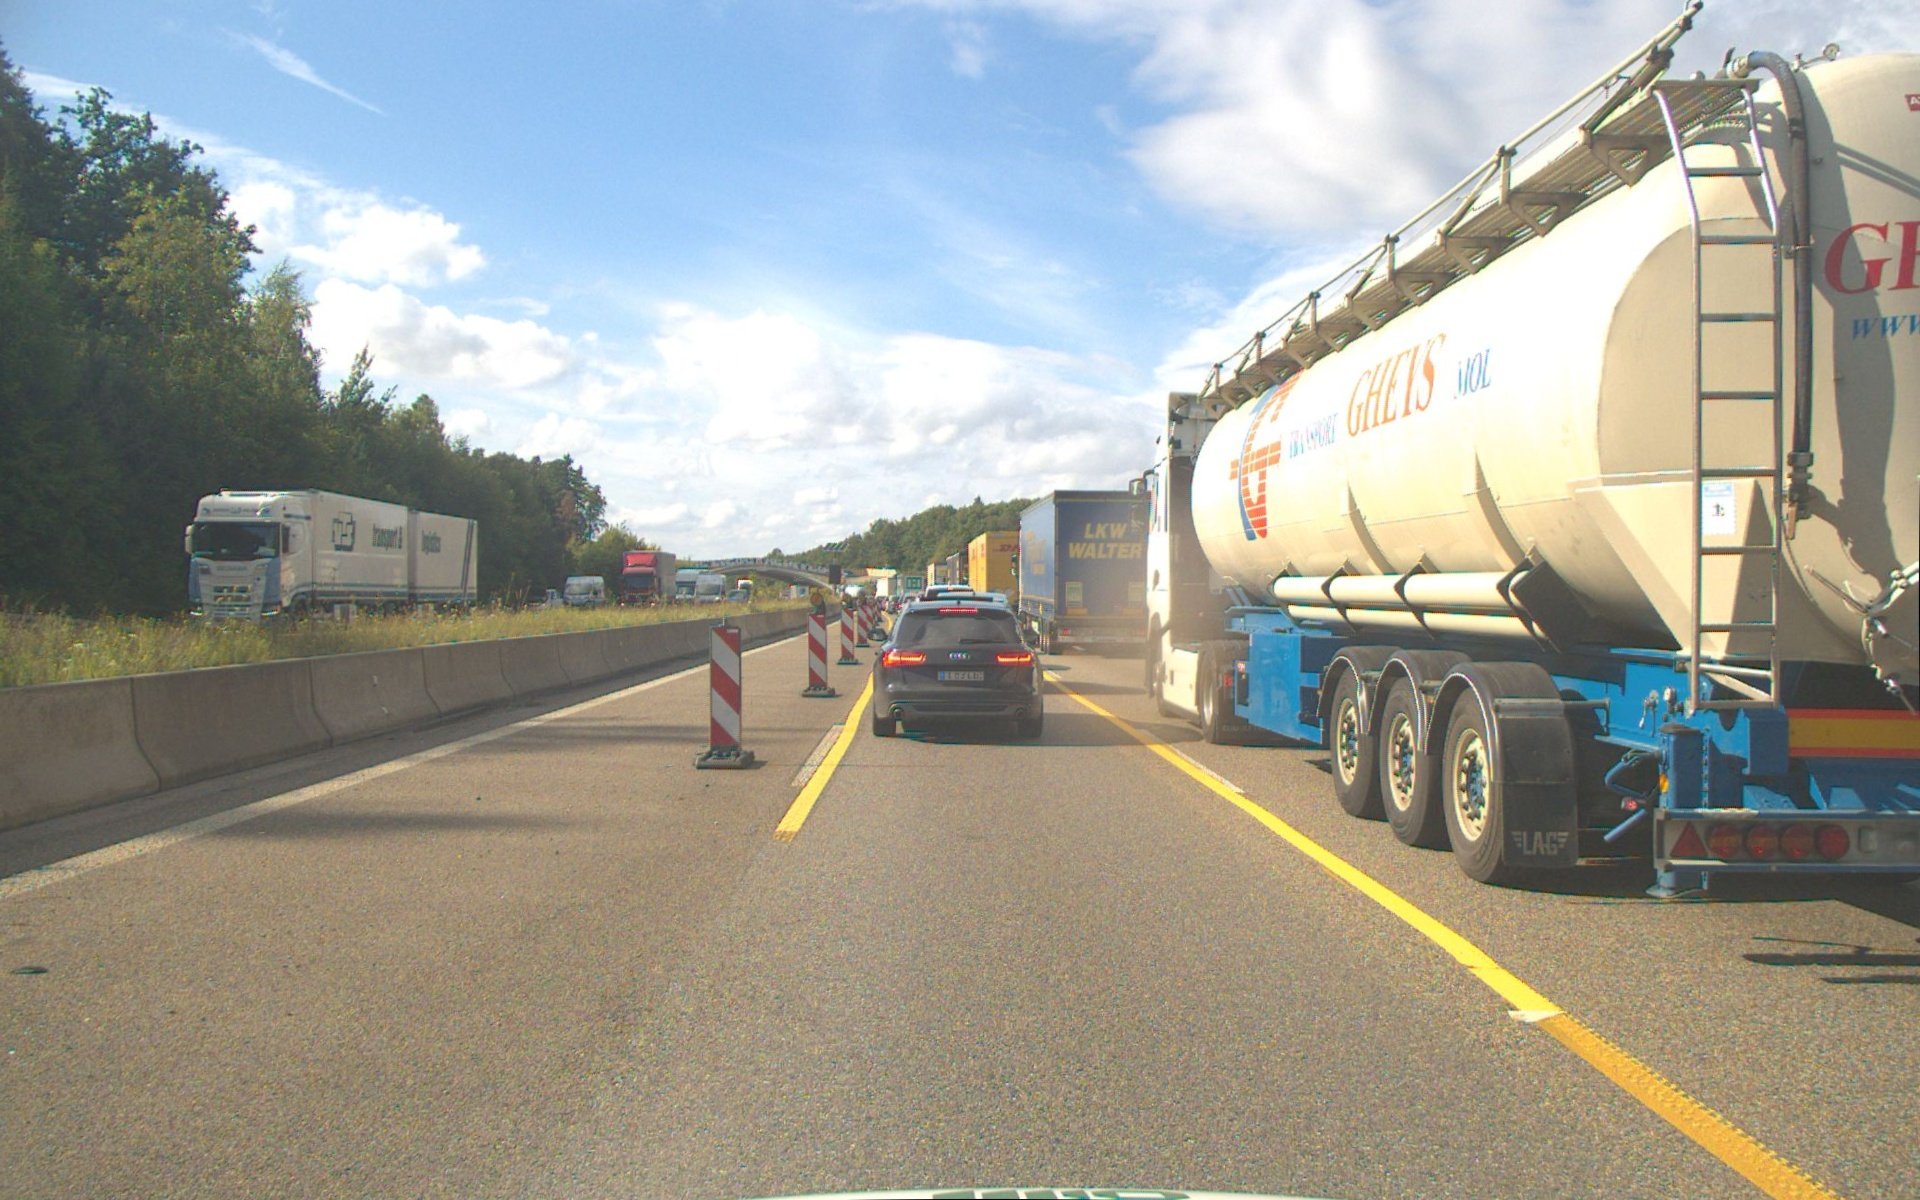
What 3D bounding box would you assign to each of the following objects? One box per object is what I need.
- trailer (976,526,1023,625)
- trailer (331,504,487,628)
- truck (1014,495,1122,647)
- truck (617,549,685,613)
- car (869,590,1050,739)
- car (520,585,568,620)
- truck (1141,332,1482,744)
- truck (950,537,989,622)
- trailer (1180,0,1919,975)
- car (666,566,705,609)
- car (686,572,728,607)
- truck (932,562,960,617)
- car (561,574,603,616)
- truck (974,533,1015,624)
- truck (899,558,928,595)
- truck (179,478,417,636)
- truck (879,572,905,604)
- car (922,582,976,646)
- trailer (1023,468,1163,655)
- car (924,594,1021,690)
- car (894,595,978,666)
[{"bbox_3d":[1.646,-0.979,70.435,1.584,3.987,6.487,1,0,-2],"label":"trailer"},{"bbox_3d":[-19.143,-1.079,58.074,2.734,3.992,8.486,1,0,-1],"label":"trailer"},{"bbox_3d":[3.311,-0.830,52.691,2.749,4.446,7.790,1,0,-1],"label":"truck"},{"bbox_3d":[-20.626,-1.260,110.985,2.743,4.062,10.183,1,0,-1],"label":"truck"},{"bbox_3d":[-0.032,0.662,18.684,1.811,1.489,3.999,0,0,-1],"label":"car"},{"bbox_3d":[-25.126,0.184,100.023,1.953,2.049,3.999,1,0,-1],"label":"car"},{"bbox_3d":[3.807,-0.595,19.285,2.605,4.041,5.777,1,0,-1],"label":"truck"},{"bbox_3d":[0.533,-1.209,102.518,1.953,5.000,9.558,1,0,-2],"label":"truck"},{"bbox_3d":[3.932,-0.588,12.551,2.590,4.012,12.594,1,0,-1],"label":"trailer"},{"bbox_3d":[-22.675,-0.988,136.973,2.438,3.429,7.445,1,0,-4],"label":"car"},{"bbox_3d":[-18.413,-0.763,120.645,2.116,2.494,6.330,1,0,-1],"label":"car"},{"bbox_3d":[-1.176,-0.798,135.587,2.094,4.332,7.069,1,0,-1],"label":"truck"},{"bbox_3d":[-25.080,-0.289,109.887,2.208,2.689,5.010,1,0,-8],"label":"car"},{"bbox_3d":[1.518,-0.945,74.545,1.577,3.965,4.070,1,0,-2],"label":"truck"},{"bbox_3d":[-5.649,-2.817,198.655,3.238,4.248,9.696,0,0,-3],"label":"truck"},{"bbox_3d":[-18.962,-1.095,48.364,2.726,4.055,10.859,1,0,-1],"label":"truck"},{"bbox_3d":[-9.478,-1.598,228.722,3.239,4.248,9.694,1,0,-4],"label":"truck"},{"bbox_3d":[-0.348,0.428,50.180,1.549,1.869,3.111,1,0,-1],"label":"car"},{"bbox_3d":[3.428,-0.910,45.352,2.748,4.490,10.430,1,0,-1],"label":"trailer"},{"bbox_3d":[0.173,0.665,27.284,1.493,1.464,3.284,1,0,-1],"label":"car"},{"bbox_3d":[-0.530,0.639,35.982,1.716,1.421,3.607,1,0,-1],"label":"car"}]
